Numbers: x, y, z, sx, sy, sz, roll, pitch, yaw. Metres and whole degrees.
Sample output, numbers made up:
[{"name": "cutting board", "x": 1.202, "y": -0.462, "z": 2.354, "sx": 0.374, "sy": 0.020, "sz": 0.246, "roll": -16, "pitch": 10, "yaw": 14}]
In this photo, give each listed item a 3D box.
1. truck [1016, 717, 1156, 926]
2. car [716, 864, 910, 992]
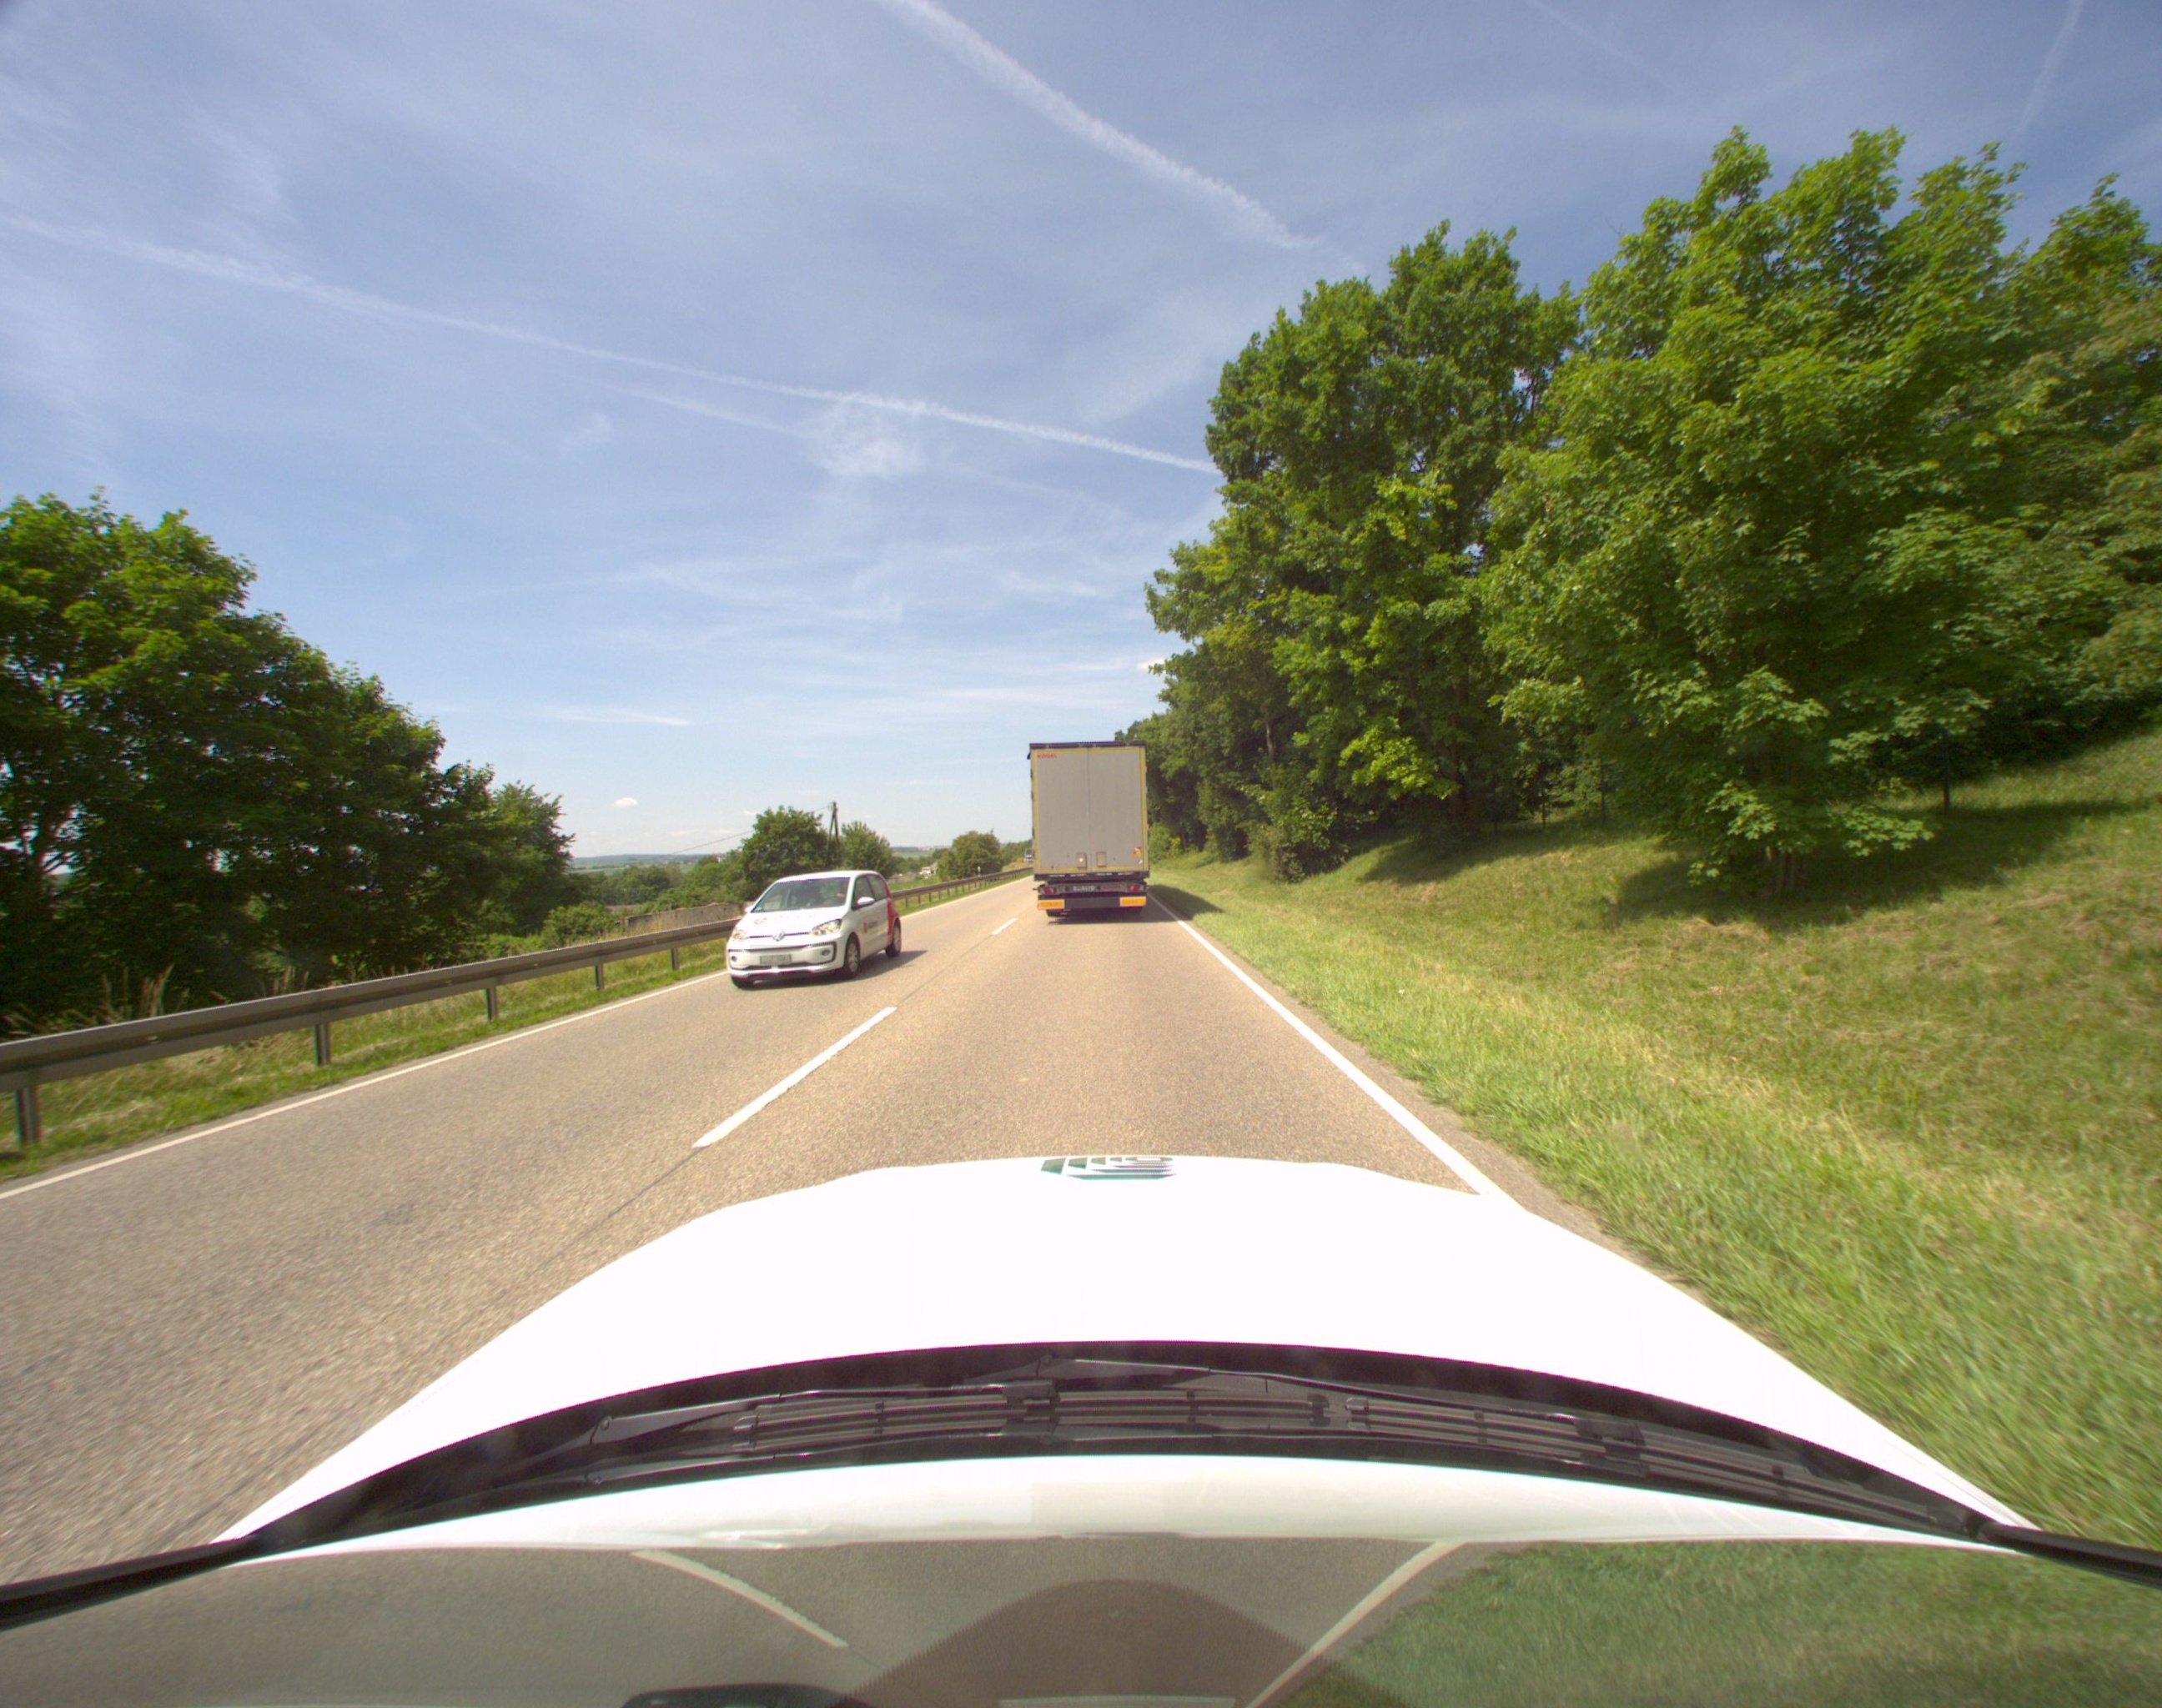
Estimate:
[{"name": "truck", "x": 0.148, "y": -0.690, "z": 21.781, "sx": 2.897, "sy": 4.410, "sz": 8.860, "roll": -1, "pitch": 0, "yaw": 1}, {"name": "car", "x": -3.820, "y": 0.978, "z": 12.251, "sx": 1.552, "sy": 1.462, "sz": 3.550, "roll": -5, "pitch": 0, "yaw": 1}]
